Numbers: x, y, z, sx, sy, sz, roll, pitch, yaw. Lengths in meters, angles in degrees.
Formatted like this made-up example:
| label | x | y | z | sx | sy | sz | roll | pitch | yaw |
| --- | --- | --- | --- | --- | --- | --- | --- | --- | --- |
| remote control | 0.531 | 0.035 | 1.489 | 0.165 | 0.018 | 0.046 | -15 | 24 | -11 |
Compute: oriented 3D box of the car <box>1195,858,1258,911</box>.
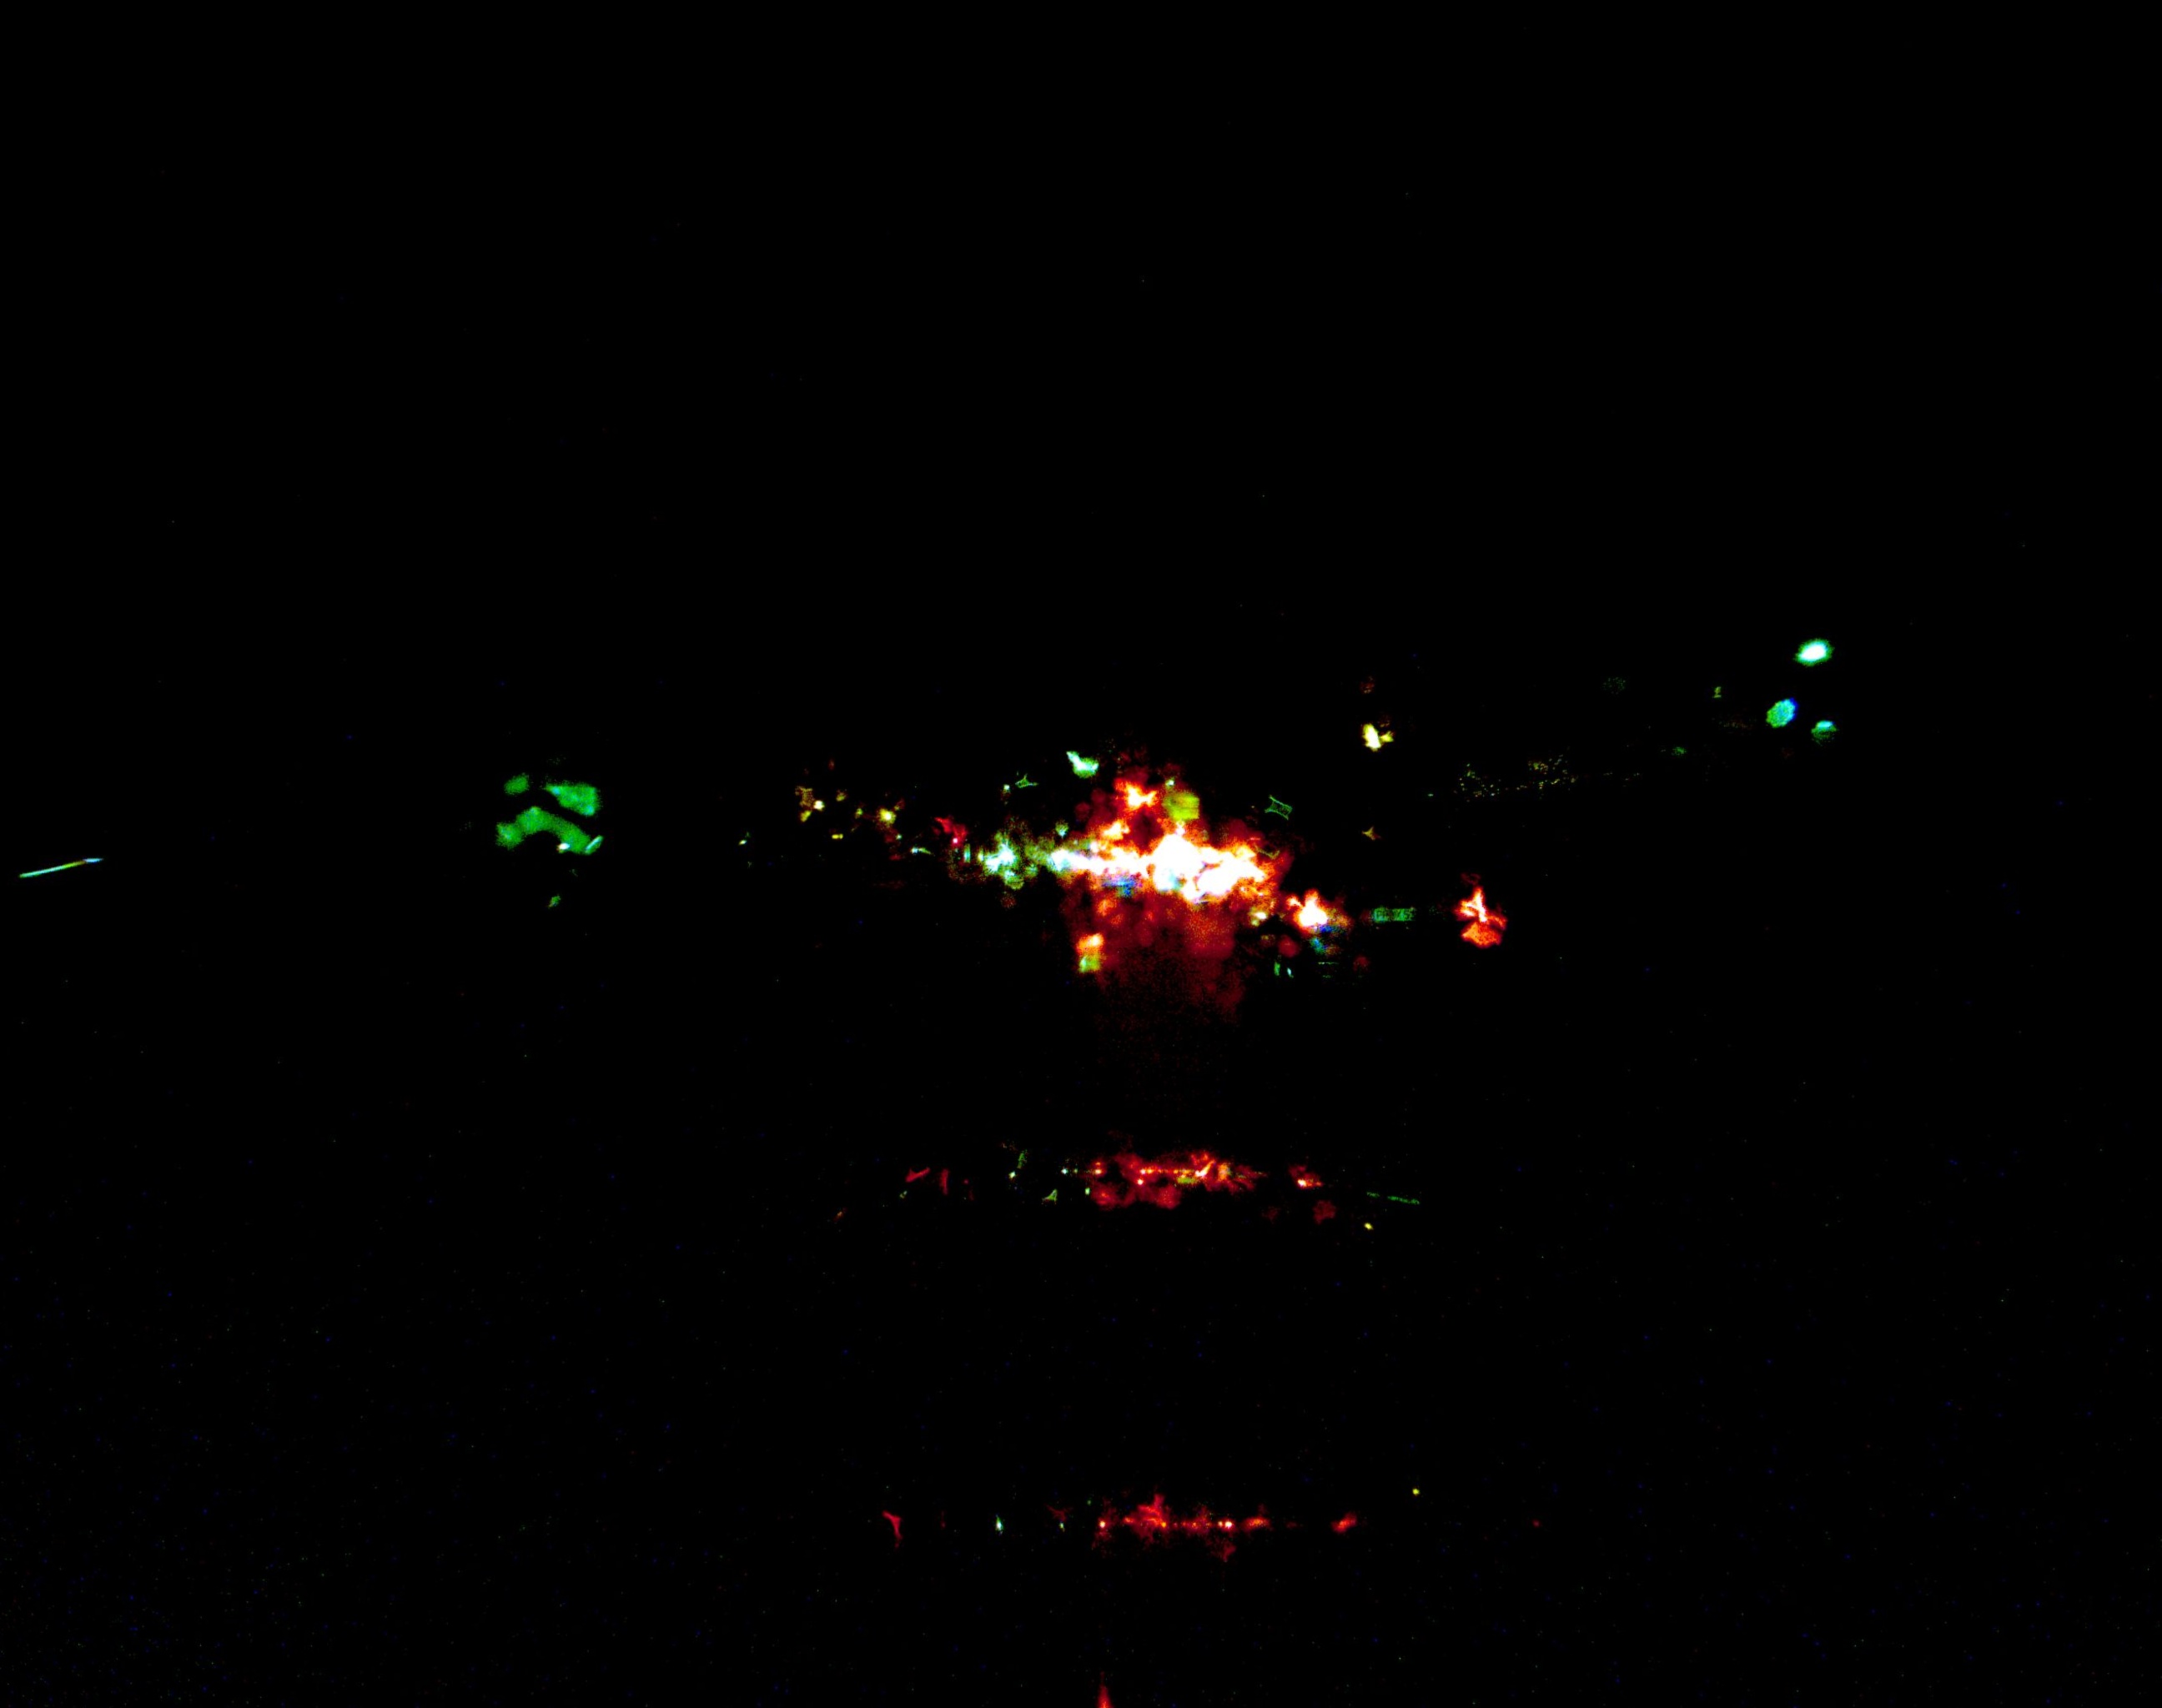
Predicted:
| label | x | y | z | sx | sy | sz | roll | pitch | yaw |
| --- | --- | --- | --- | --- | --- | --- | --- | --- | --- |
| car | 4.422 | 0.876 | 25.282 | 1.758 | 1.450 | 4.227 | 0 | 0 | 8 |

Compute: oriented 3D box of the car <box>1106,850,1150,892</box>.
| label | x | y | z | sx | sy | sz | roll | pitch | yaw |
| --- | --- | --- | --- | --- | --- | --- | --- | --- | --- |
| car | 2.070 | 0.687 | 35.039 | 1.700 | 1.638 | 3.735 | -1 | 0 | 5 |

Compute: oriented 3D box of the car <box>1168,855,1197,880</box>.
| label | x | y | z | sx | sy | sz | roll | pitch | yaw |
| --- | --- | --- | --- | --- | --- | --- | --- | --- | --- |
| car | 6.272 | 0.831 | 50.540 | 1.655 | 1.450 | 4.057 | -1 | -1 | 6 |

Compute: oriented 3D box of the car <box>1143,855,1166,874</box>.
| label | x | y | z | sx | sy | sz | roll | pitch | yaw |
| --- | --- | --- | --- | --- | --- | --- | --- | --- | --- |
| car | 5.750 | 0.841 | 63.996 | 1.656 | 1.450 | 4.054 | 0 | -1 | 4 |

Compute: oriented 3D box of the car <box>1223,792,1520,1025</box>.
| label | x | y | z | sx | sy | sz | roll | pitch | yaw |
| --- | --- | --- | --- | --- | --- | --- | --- | --- | --- |
| car | 2.825 | 0.441 | 9.004 | 1.935 | 1.972 | 4.220 | 0 | 0 | 2 |

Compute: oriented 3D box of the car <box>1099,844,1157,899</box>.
| label | x | y | z | sx | sy | sz | roll | pitch | yaw |
| --- | --- | --- | --- | --- | --- | --- | --- | --- | --- |
| car | 1.547 | 0.534 | 26.051 | 1.687 | 1.630 | 3.857 | 0 | 0 | 4 |

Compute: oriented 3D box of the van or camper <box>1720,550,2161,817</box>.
| label | x | y | z | sx | sy | sz | roll | pitch | yaw |
| --- | --- | --- | --- | --- | --- | --- | --- | --- | --- |
| van or camper | 13.422 | -2.128 | 11.759 | 2.585 | 2.908 | 6.326 | -1 | 0 | -15 |

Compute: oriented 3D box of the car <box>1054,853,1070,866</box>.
| label | x | y | z | sx | sy | sz | roll | pitch | yaw |
| --- | --- | --- | --- | --- | --- | --- | --- | --- | --- |
| car | -2.346 | 0.610 | 98.045 | 1.705 | 1.499 | 3.725 | -2 | 0 | -4 |

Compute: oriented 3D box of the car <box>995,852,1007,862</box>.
| label | x | y | z | sx | sy | sz | roll | pitch | yaw |
| --- | --- | --- | --- | --- | --- | --- | --- | --- | --- |
| car | -12.533 | 0.434 | 127.627 | 1.705 | 1.499 | 3.726 | -2 | 0 | -3 |
